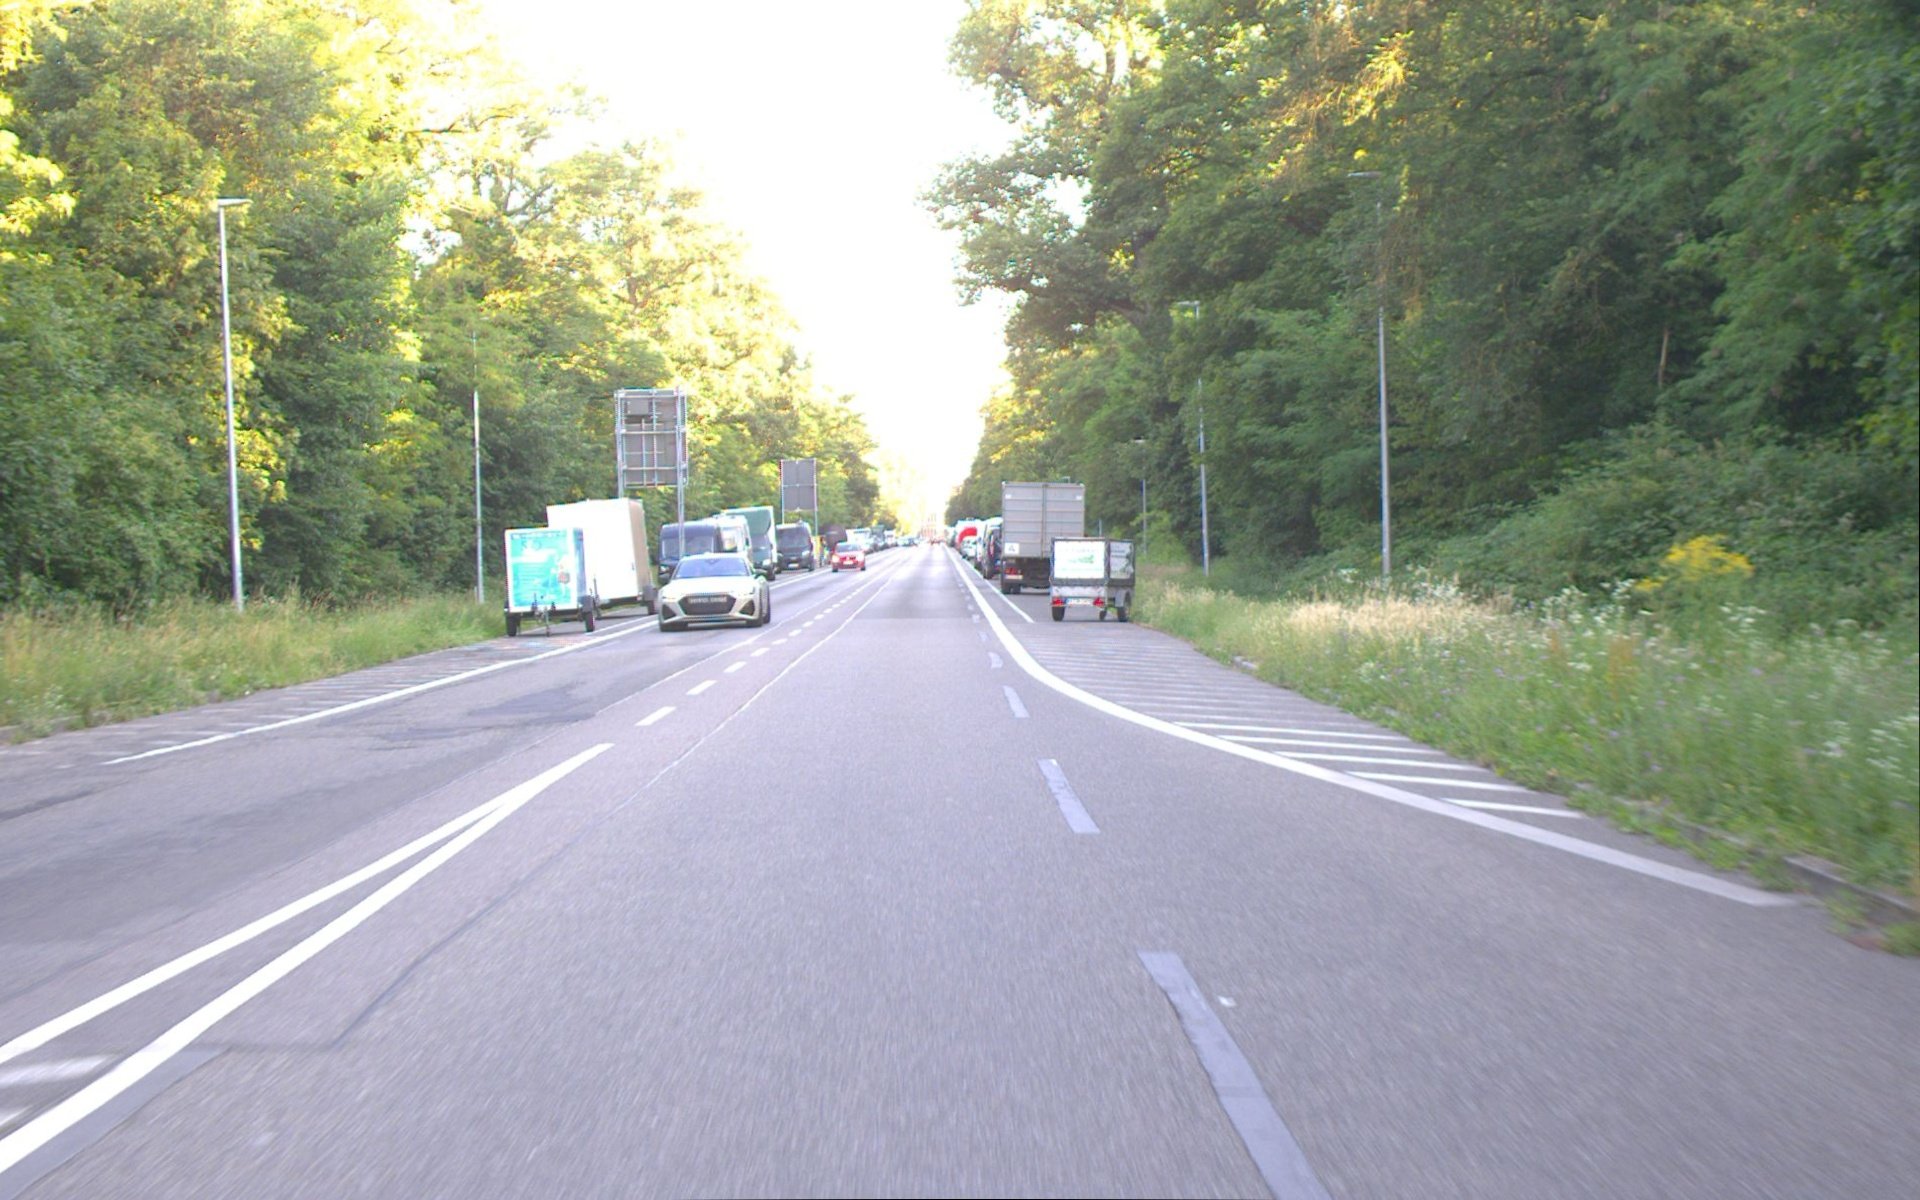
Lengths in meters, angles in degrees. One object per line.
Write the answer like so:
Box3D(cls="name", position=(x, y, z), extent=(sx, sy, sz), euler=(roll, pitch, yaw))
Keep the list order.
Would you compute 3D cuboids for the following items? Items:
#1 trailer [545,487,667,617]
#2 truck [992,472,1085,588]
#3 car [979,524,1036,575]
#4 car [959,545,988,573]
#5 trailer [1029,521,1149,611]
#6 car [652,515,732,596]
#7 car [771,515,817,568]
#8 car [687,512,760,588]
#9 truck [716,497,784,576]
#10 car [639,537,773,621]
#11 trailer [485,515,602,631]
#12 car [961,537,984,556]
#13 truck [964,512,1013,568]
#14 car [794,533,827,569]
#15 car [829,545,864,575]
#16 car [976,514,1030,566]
Box3D(cls="trailer", position=(-8.573, -1.183, 83.708), extent=(2.326, 2.914, 5.627), euler=(-4, 1, -1))
Box3D(cls="truck", position=(2.273, -2.022, 100.279), extent=(2.589, 3.244, 7.220), euler=(0, 1, 1))
Box3D(cls="car", position=(1.839, -1.958, 134.193), extent=(1.993, 1.948, 4.300), euler=(0, 1, -3))
Box3D(cls="car", position=(0.674, -2.077, 172.946), extent=(1.147, 1.247, 2.754), euler=(-7, 2, -2))
Box3D(cls="trailer", position=(2.563, -0.683, 67.658), extent=(1.457, 1.656, 3.774), euler=(-2, 1, 16))
Box3D(cls="car", position=(-8.454, -1.421, 108.953), extent=(1.993, 2.356, 5.766), euler=(-4, 1, 0))
Box3D(cls="car", position=(-8.984, -3.180, 186.779), extent=(2.186, 2.779, 5.334), euler=(-2, 1, -1))
Box3D(cls="car", position=(-8.686, -1.874, 126.566), extent=(2.249, 2.638, 5.722), euler=(-2, 1, -1))
Box3D(cls="truck", position=(-9.254, -2.802, 152.131), extent=(2.504, 3.317, 6.842), euler=(-2, 1, -1))
Box3D(cls="car", position=(-4.914, -0.437, 67.206), extent=(2.063, 1.430, 4.466), euler=(-4, 1, 2))
Box3D(cls="trailer", position=(-8.220, -0.558, 68.104), extent=(1.817, 2.160, 4.143), euler=(-2, 1, -1))
Box3D(cls="car", position=(0.828, -3.623, 231.882), extent=(1.427, 1.218, 3.412), euler=(-2, 1, -1))
Box3D(cls="truck", position=(1.351, -2.886, 166.312), extent=(2.141, 2.650, 4.300), euler=(0, 1, -3))
Box3D(cls="car", position=(-9.060, -3.004, 208.355), extent=(1.700, 2.006, 4.000), euler=(-4, 1, 0))
Box3D(cls="car", position=(-5.844, -2.065, 176.720), extent=(1.682, 1.481, 4.038), euler=(-2, 1, -2))
Box3D(cls="car", position=(1.890, -2.680, 153.451), extent=(2.141, 2.305, 4.300), euler=(0, 1, -3))
